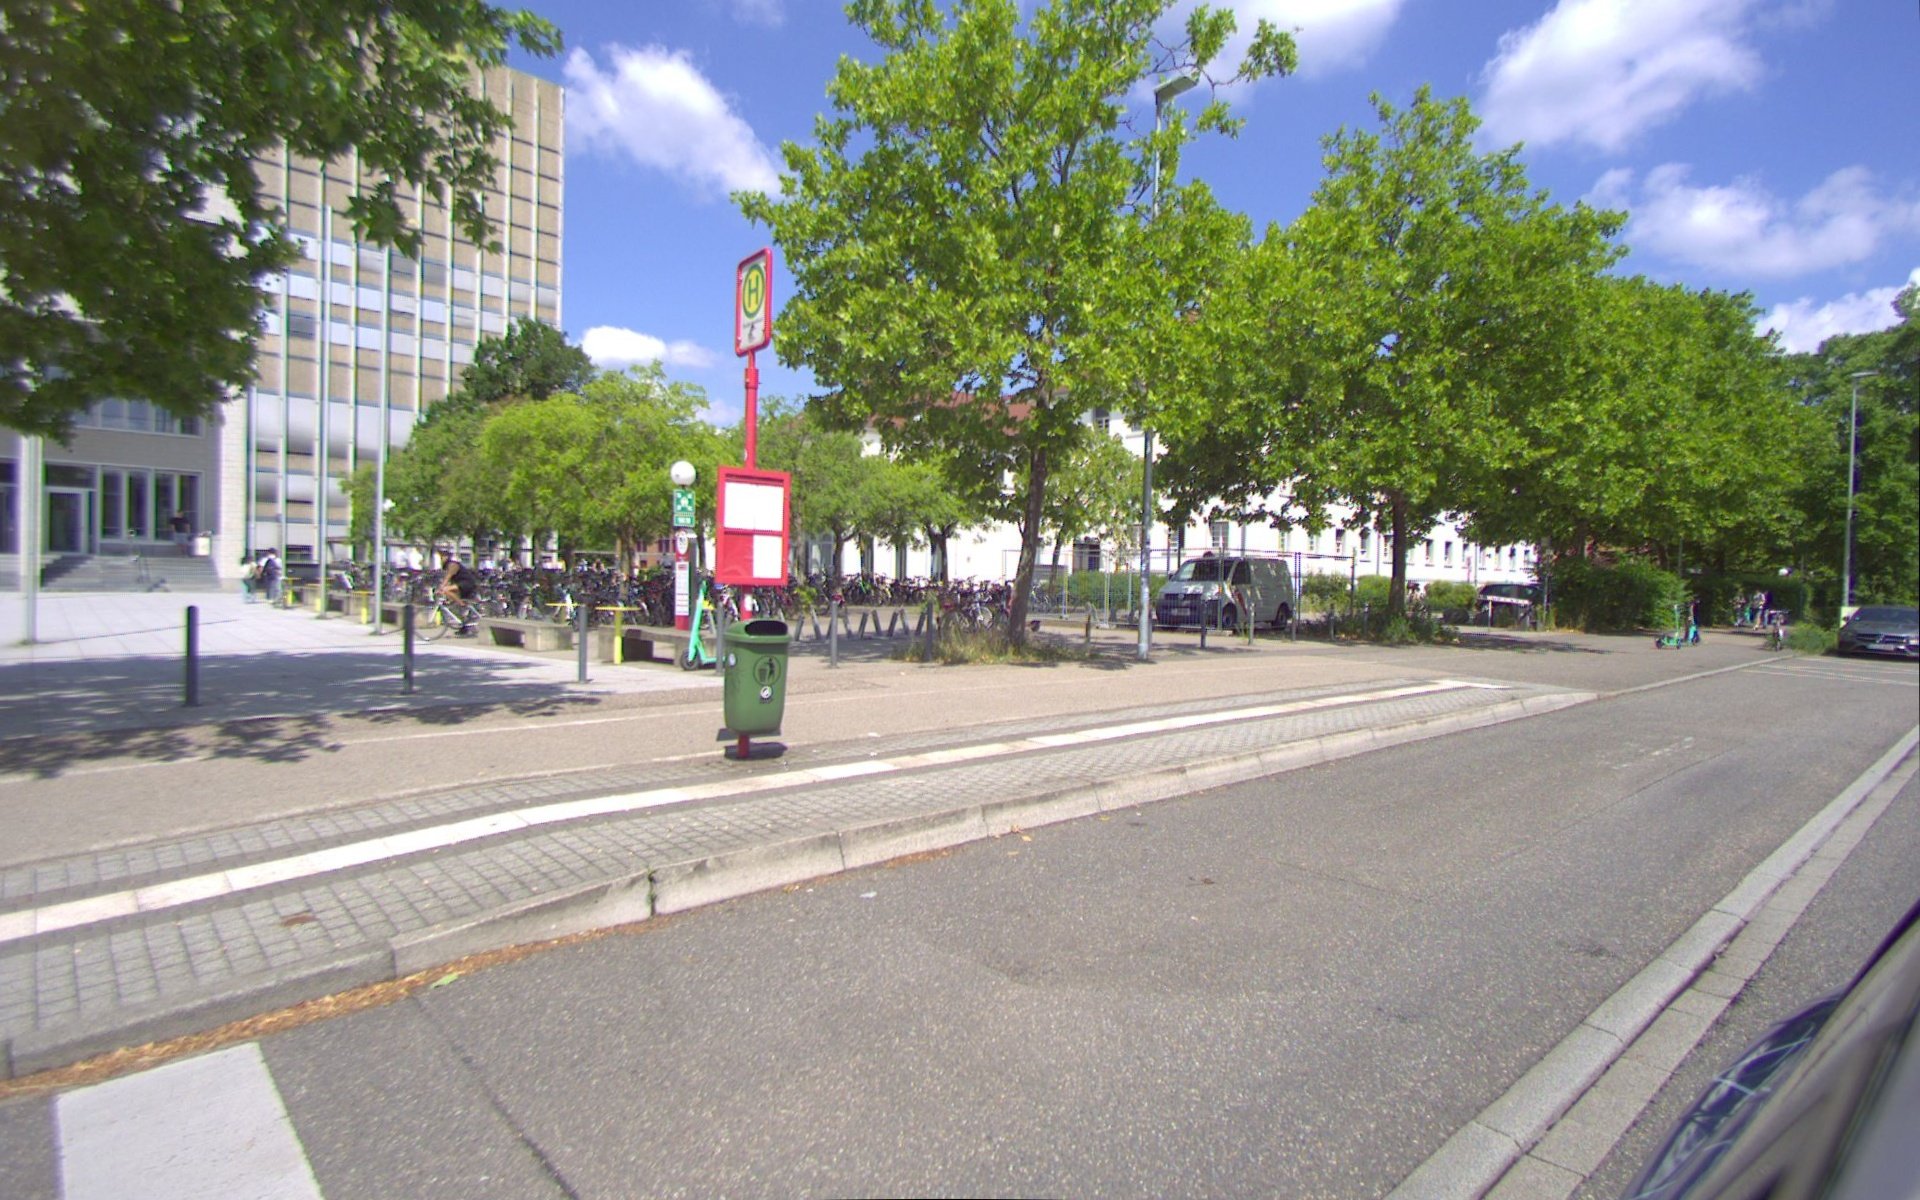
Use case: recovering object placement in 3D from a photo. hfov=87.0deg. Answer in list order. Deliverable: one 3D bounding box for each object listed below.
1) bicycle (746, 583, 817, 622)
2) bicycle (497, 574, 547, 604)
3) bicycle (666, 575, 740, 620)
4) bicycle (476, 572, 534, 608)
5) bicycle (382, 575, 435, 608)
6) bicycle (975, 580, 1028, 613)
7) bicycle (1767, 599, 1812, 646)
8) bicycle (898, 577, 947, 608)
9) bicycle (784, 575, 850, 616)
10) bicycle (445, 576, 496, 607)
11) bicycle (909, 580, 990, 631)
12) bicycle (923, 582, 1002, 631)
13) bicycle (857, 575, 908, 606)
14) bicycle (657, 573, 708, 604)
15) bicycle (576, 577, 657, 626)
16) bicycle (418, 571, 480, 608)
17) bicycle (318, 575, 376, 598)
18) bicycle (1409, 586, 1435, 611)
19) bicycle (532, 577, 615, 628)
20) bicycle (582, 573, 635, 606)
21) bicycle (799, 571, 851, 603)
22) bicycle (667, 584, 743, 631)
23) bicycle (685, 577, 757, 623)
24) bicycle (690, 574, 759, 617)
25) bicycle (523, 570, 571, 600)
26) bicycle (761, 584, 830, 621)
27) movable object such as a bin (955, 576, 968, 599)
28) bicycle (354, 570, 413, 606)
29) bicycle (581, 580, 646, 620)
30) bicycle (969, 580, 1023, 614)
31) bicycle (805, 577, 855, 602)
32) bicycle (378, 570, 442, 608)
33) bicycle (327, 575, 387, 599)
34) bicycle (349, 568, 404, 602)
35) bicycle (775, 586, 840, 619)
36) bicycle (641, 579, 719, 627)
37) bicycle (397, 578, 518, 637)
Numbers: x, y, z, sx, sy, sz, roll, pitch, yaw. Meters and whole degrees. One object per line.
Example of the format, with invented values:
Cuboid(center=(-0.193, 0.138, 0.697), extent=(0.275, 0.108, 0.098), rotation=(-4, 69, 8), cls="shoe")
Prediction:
Cuboid(center=(-4.660, 0.065, 26.478), extent=(1.743, 0.966, 0.601), rotation=(1, 0, 17), cls="bicycle")
Cuboid(center=(-16.287, -0.406, 37.658), extent=(1.743, 1.113, 0.601), rotation=(-1, 0, 17), cls="bicycle")
Cuboid(center=(-6.478, -0.074, 25.541), extent=(1.743, 1.112, 0.601), rotation=(1, 1, 17), cls="bicycle")
Cuboid(center=(-14.673, -0.316, 32.667), extent=(1.743, 1.113, 0.601), rotation=(-1, 0, 17), cls="bicycle")
Cuboid(center=(-19.527, -0.295, 35.848), extent=(1.743, 1.113, 0.601), rotation=(-1, 0, 17), cls="bicycle")
Cuboid(center=(1.435, -0.109, 34.978), extent=(1.743, 1.113, 0.590), rotation=(-1, 0, 17), cls="bicycle")
Cuboid(center=(22.631, 0.591, 27.602), extent=(2.083, 1.205, 0.638), rotation=(1, 2, -44), cls="bicycle")
Cuboid(center=(-1.397, -0.266, 37.590), extent=(1.743, 1.113, 0.601), rotation=(-1, 0, 17), cls="bicycle")
Cuboid(center=(-3.982, -0.129, 28.167), extent=(1.743, 1.113, 0.601), rotation=(-1, 0, 17), cls="bicycle")
Cuboid(center=(-17.929, -0.316, 37.039), extent=(1.743, 1.113, 0.601), rotation=(-1, 0, 17), cls="bicycle")
Cuboid(center=(-0.233, 0.129, 22.896), extent=(1.743, 1.113, 0.601), rotation=(-1, 0, 17), cls="bicycle")
Cuboid(center=(0.052, 0.156, 23.534), extent=(1.743, 1.113, 0.601), rotation=(-1, 0, 17), cls="bicycle")
Cuboid(center=(-2.807, -0.337, 36.830), extent=(1.743, 1.113, 0.601), rotation=(-1, 0, 17), cls="bicycle")
Cuboid(center=(-10.082, -0.413, 36.768), extent=(1.743, 1.113, 0.601), rotation=(-1, 0, 17), cls="bicycle")
Cuboid(center=(-7.879, 0.038, 23.230), extent=(1.743, 1.113, 0.601), rotation=(-1, 0, 17), cls="bicycle")
Cuboid(center=(-15.529, -0.318, 30.742), extent=(1.743, 1.113, 0.601), rotation=(-1, 0, 17), cls="bicycle")
Cuboid(center=(-21.973, -0.492, 36.296), extent=(0.517, 0.802, 1.746), rotation=(2, 2, 34), cls="bicycle")
Cuboid(center=(22.210, -0.085, 48.631), extent=(0.606, 1.152, 1.563), rotation=(3, 3, 44), cls="bicycle")
Cuboid(center=(-8.696, 0.062, 22.778), extent=(1.743, 1.113, 0.601), rotation=(-1, 0, 17), cls="bicycle")
Cuboid(center=(-12.427, -0.367, 35.771), extent=(1.743, 1.113, 0.601), rotation=(-1, 0, 17), cls="bicycle")
Cuboid(center=(-4.872, -0.474, 36.514), extent=(1.743, 1.113, 0.601), rotation=(-1, 0, 17), cls="bicycle")
Cuboid(center=(-6.245, 0.173, 24.791), extent=(1.743, 1.113, 0.601), rotation=(1, 0, 17), cls="bicycle")
Cuboid(center=(-6.204, -0.004, 26.229), extent=(1.743, 1.112, 0.601), rotation=(2, 0, 17), cls="bicycle")
Cuboid(center=(-6.389, -0.134, 27.417), extent=(1.743, 1.113, 0.601), rotation=(1, 0, 17), cls="bicycle")
Cuboid(center=(-15.843, -0.574, 38.832), extent=(1.743, 1.113, 0.601), rotation=(-1, 0, 17), cls="bicycle")
Cuboid(center=(-4.438, 0.060, 27.249), extent=(1.743, 0.966, 0.601), rotation=(1, 0, 17), cls="bicycle")
Cuboid(center=(0.068, -0.567, 45.867), extent=(0.388, 1.068, 0.362), rotation=(3, 2, 42), cls="movable object such as a bin")
Cuboid(center=(-18.099, -0.370, 31.772), extent=(1.743, 1.113, 0.601), rotation=(-1, 0, 17), cls="bicycle")
Cuboid(center=(-9.996, 0.008, 29.192), extent=(1.743, 1.113, 0.601), rotation=(-1, 0, 17), cls="bicycle")
Cuboid(center=(1.227, -0.105, 34.399), extent=(1.743, 1.113, 0.513), rotation=(-1, 0, 17), cls="bicycle")
Cuboid(center=(-4.808, -0.385, 37.479), extent=(1.743, 0.880, 0.601), rotation=(-1, 0, 17), cls="bicycle")
Cuboid(center=(-16.302, -0.316, 29.995), extent=(1.743, 1.113, 0.601), rotation=(-1, 0, 17), cls="bicycle")
Cuboid(center=(-21.147, -0.460, 35.525), extent=(0.517, 0.802, 1.746), rotation=(2, 2, 34), cls="bicycle")
Cuboid(center=(-19.864, -0.500, 34.438), extent=(1.743, 1.113, 0.601), rotation=(-1, 0, 17), cls="bicycle")
Cuboid(center=(-4.215, 0.061, 28.021), extent=(1.743, 0.879, 0.482), rotation=(1, 0, 17), cls="bicycle")
Cuboid(center=(-6.669, 0.066, 24.064), extent=(1.743, 1.113, 0.601), rotation=(-1, 0, 17), cls="bicycle")
Cuboid(center=(-10.067, 0.129, 20.302), extent=(2.111, 1.092, 0.905), rotation=(-2, 1, -28), cls="bicycle")
